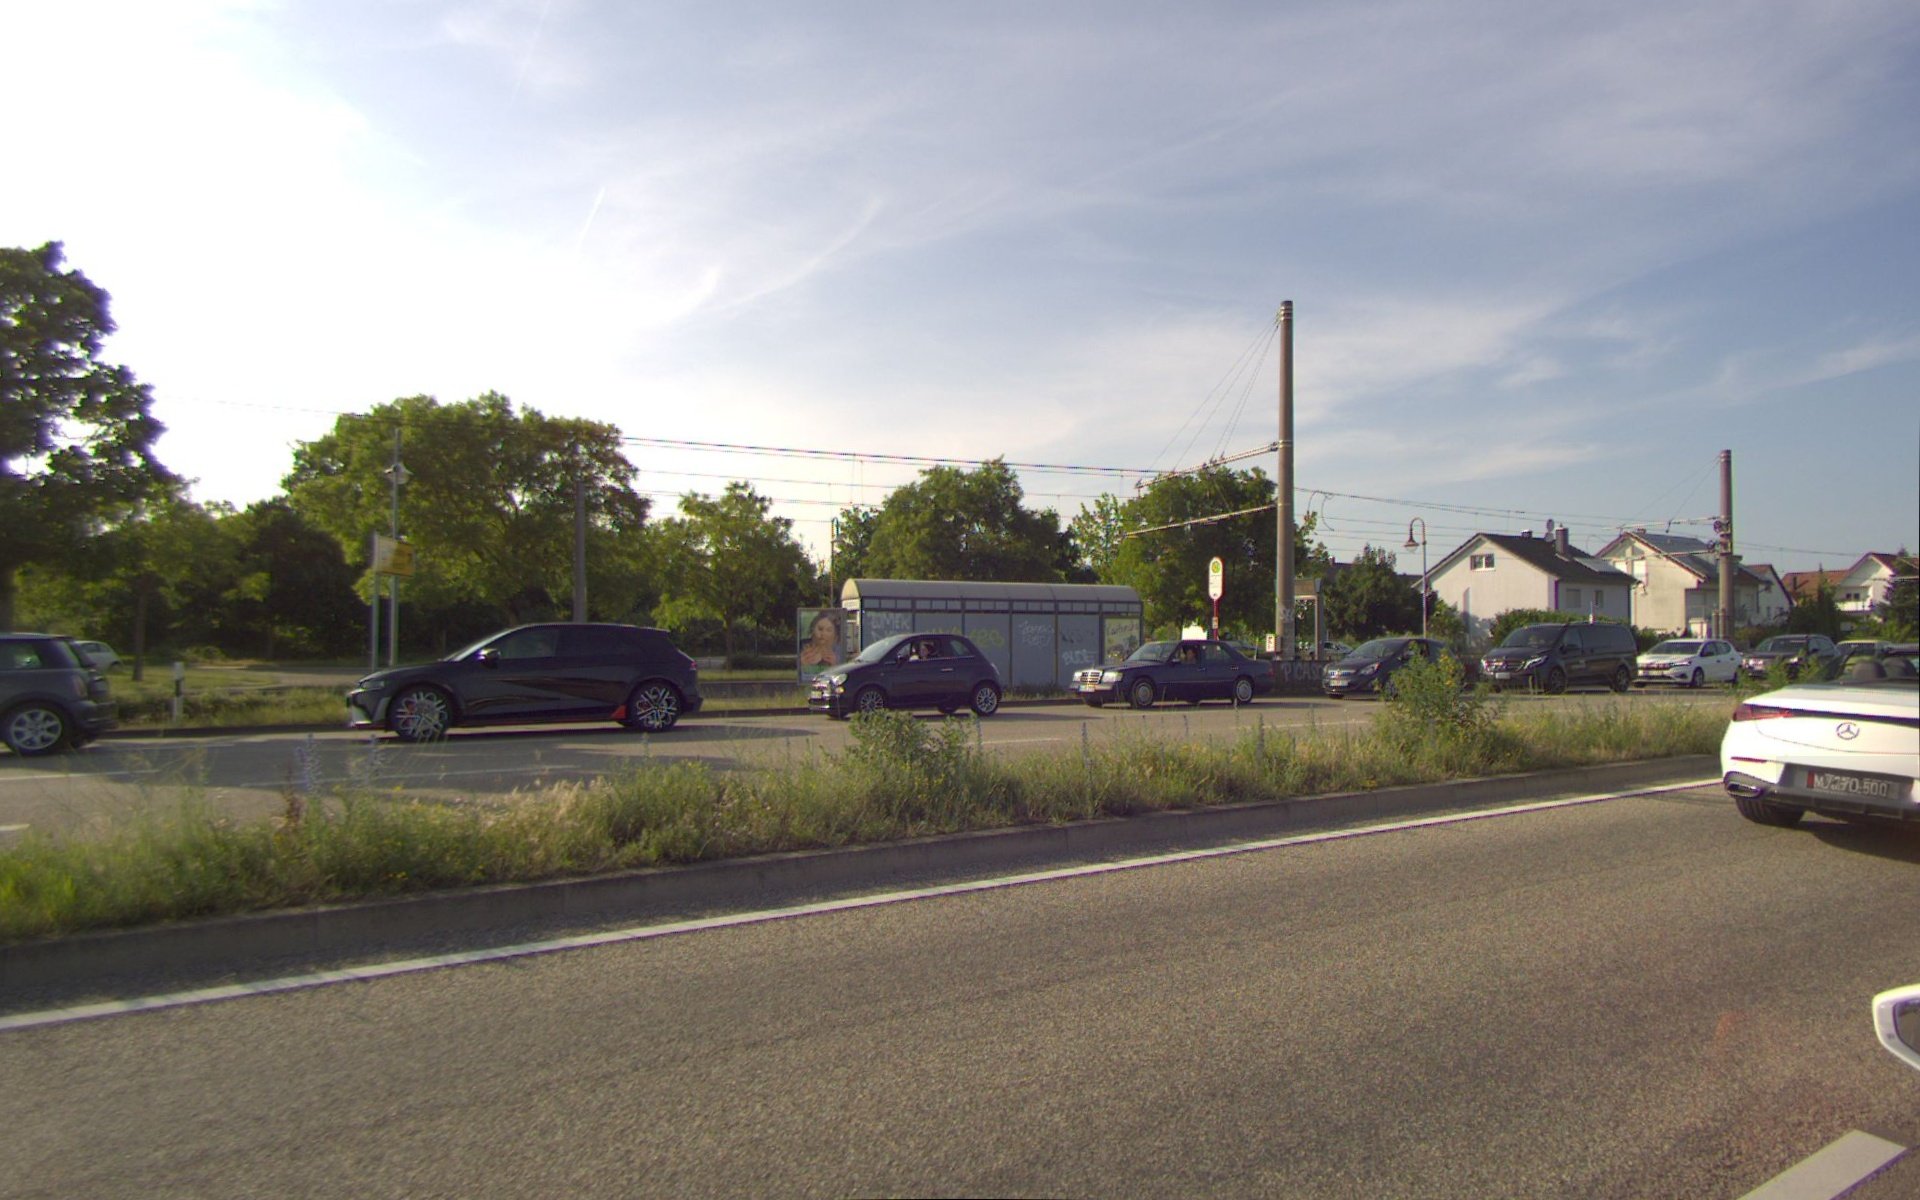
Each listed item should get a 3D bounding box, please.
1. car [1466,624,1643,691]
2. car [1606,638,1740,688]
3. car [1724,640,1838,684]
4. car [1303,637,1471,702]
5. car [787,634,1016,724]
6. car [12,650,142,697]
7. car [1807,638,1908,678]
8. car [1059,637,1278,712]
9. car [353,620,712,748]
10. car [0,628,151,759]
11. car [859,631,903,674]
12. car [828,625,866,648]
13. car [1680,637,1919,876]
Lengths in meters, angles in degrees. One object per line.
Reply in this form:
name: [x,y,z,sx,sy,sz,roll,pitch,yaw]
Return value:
car: [16.405,1.561,27.655,5.192,1.705,1.906,1,-3,-30]
car: [21.896,1.900,30.808,4.396,1.450,1.653,1,-3,-30]
car: [28.648,2.129,35.018,4.275,1.450,1.653,1,-3,-30]
car: [10.296,1.645,24.179,4.009,1.450,1.653,1,-3,-30]
car: [-1.020,1.355,17.891,3.760,1.450,1.653,1,-3,-30]
car: [-37.640,3.104,42.954,1.960,1.684,4.000,1,0,1]
car: [34.606,2.227,38.717,4.275,1.450,1.653,1,-3,-30]
car: [4.482,1.537,21.342,4.662,1.450,1.653,1,-3,-30]
car: [-5.985,1.135,14.322,4.492,1.583,1.653,1,-3,-30]
car: [-11.824,1.064,11.466,3.760,1.450,1.653,1,-3,-30]
car: [-4.227,2.803,54.421,1.960,2.040,4.000,1,0,1]
car: [-7.586,2.488,67.870,1.700,1.384,3.626,-1,-4,7]
car: [7.593,0.996,7.467,4.891,1.355,1.763,1,0,-30]
